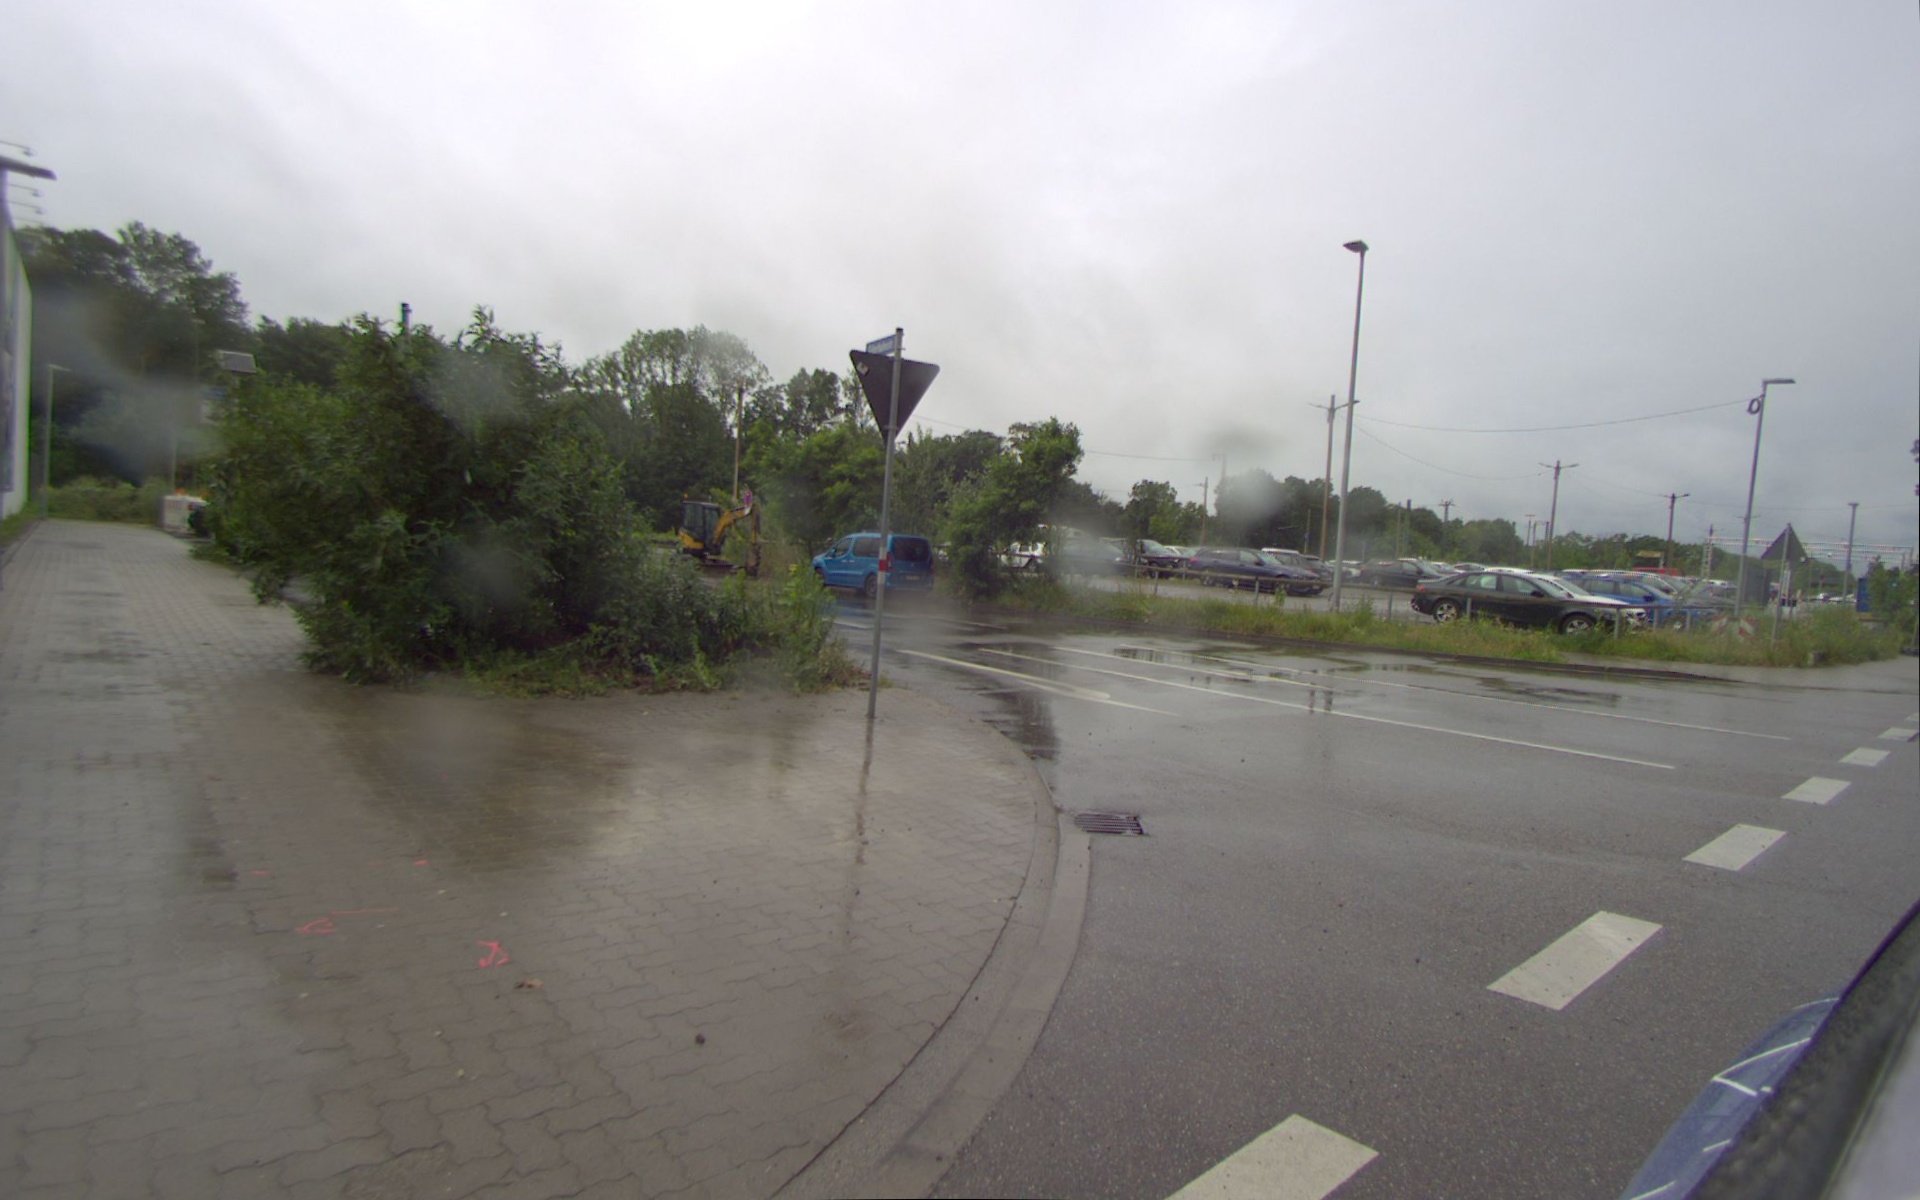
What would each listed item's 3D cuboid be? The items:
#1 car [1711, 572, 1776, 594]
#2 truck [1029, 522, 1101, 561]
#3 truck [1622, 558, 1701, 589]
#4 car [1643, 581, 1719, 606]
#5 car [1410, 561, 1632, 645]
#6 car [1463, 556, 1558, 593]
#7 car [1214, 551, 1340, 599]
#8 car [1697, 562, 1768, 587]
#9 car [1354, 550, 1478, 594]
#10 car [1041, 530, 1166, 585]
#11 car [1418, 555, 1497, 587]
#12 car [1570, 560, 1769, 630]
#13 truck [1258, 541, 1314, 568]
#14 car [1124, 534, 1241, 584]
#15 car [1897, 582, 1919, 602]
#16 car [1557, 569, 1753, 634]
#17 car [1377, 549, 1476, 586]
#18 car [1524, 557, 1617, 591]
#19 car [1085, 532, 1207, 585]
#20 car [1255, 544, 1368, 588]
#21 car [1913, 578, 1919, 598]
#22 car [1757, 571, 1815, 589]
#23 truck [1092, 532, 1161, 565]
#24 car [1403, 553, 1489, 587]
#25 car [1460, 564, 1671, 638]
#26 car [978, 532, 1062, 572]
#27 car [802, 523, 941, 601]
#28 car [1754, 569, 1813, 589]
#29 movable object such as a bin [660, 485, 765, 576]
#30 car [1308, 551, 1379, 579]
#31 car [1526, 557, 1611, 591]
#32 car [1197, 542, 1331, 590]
[{"bbox_3d":[66.968,-1.499,86.565,1.853,1.443,3.966,-1,7,-38],"label":"car"},{"bbox_3d":[7.420,-4.096,71.279,4.995,2.430,2.077,0,5,-42],"label":"truck"},{"bbox_3d":[63.252,-2.416,91.325,2.115,2.395,5.302,0,6,-41],"label":"truck"},{"bbox_3d":[49.345,-0.466,69.321,1.617,1.235,3.905,-1,7,-35],"label":"car"},{"bbox_3d":[13.232,-0.011,24.008,4.218,1.416,1.863,9,8,41],"label":"car"},{"bbox_3d":[28.868,-1.384,53.185,1.893,1.500,3.845,-1,8,-38],"label":"car"},{"bbox_3d":[11.627,-0.960,37.321,1.965,1.503,3.998,-1,5,-40],"label":"car"},{"bbox_3d":[59.606,-1.983,78.131,1.746,1.507,3.966,-1,7,-38],"label":"car"},{"bbox_3d":[20.366,-1.294,45.332,4.622,1.736,1.988,5,5,44],"label":"car"},{"bbox_3d":[5.497,-1.700,39.163,2.010,1.691,4.451,-2,8,-43],"label":"car"},{"bbox_3d":[32.088,-1.908,65.360,1.801,1.678,4.070,-2,8,-42],"label":"car"},{"bbox_3d":[22.532,-0.228,32.323,2.088,1.755,4.700,-1,6,-36],"label":"car"},{"bbox_3d":[28.530,-3.945,88.381,5.185,2.037,2.087,1,5,-40],"label":"truck"},{"bbox_3d":[9.397,-1.795,43.071,2.008,1.691,4.454,-2,8,-41],"label":"car"},{"bbox_3d":[72.679,-0.554,75.602,1.874,1.410,3.777,-2,5,-43],"label":"car"},{"bbox_3d":[19.993,-0.032,29.261,1.788,1.535,4.307,-1,5,-40],"label":"car"},{"bbox_3d":[26.717,-1.906,58.083,1.893,1.623,4.718,-1,8,-39],"label":"car"},{"bbox_3d":[34.904,-1.532,57.933,1.893,1.500,4.061,-1,8,-38],"label":"car"},{"bbox_3d":[7.452,-1.732,40.835,2.010,1.691,4.451,-2,8,-43],"label":"car"},{"bbox_3d":[16.947,-1.697,48.945,2.008,1.623,4.715,-2,8,-41],"label":"car"},{"bbox_3d":[80.484,-0.867,82.475,1.865,1.613,3.902,-2,5,-43],"label":"car"},{"bbox_3d":[81.372,-1.988,99.742,1.809,1.465,4.001,-1,7,-38],"label":"car"},{"bbox_3d":[12.441,-3.854,75.583,4.988,2.163,2.080,1,5,-36],"label":"truck"},{"bbox_3d":[28.834,-1.818,60.148,1.893,1.623,4.074,-1,8,-39],"label":"car"},{"bbox_3d":[15.306,-0.060,25.771,1.857,1.527,4.192,-1,5,-40],"label":"car"},{"bbox_3d":[3.083,-2.510,52.687,3.985,1.748,1.870,7,5,40],"label":"car"},{"bbox_3d":[-2.561,-1.109,28.603,1.800,1.945,3.996,1,4,-42],"label":"car"},{"bbox_3d":[79.308,-2.030,97.499,1.774,1.554,3.966,-1,7,-38],"label":"car"},{"bbox_3d":[-8.950,-2.524,36.393,1.965,3.028,3.996,1,4,-41],"label":"movable object such as a bin"},{"bbox_3d":[27.884,-2.574,73.758,1.987,1.741,4.326,0,6,-43],"label":"car"},{"bbox_3d":[36.551,-1.567,60.857,1.754,1.601,3.918,-1,8,-38],"label":"car"},{"bbox_3d":[10.419,-1.203,34.902,1.965,1.426,3.998,-1,5,-40],"label":"car"}]
